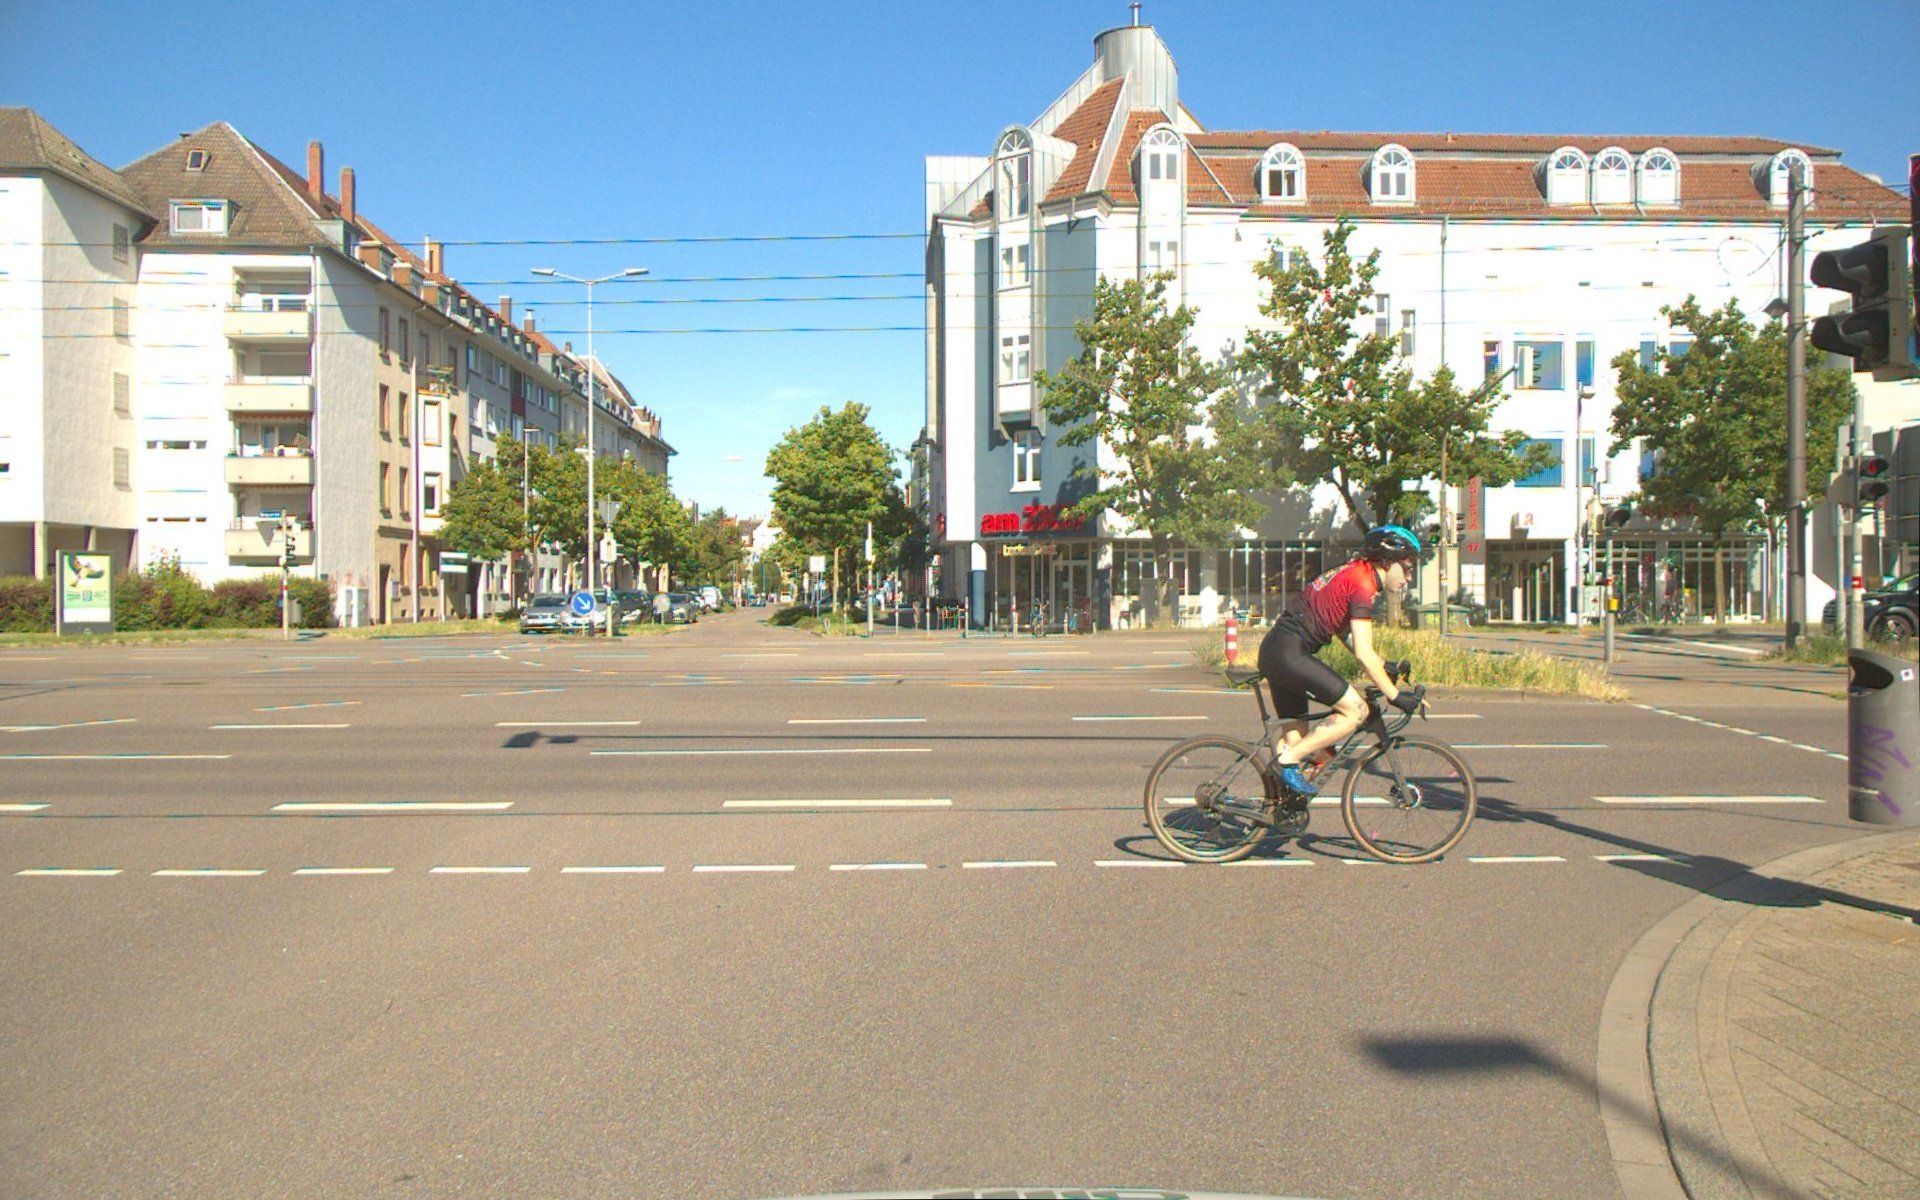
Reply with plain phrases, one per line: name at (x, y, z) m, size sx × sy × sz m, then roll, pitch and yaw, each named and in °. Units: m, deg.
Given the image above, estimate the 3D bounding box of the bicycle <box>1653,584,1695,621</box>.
bicycle at (23.427, 0.073, 54.297) m, size 0.549 × 1.203 × 1.869 m, roll -1°, pitch 0°, yaw -1°

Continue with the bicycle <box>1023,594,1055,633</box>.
bicycle at (2.177, 0.363, 45.780) m, size 0.463 × 1.045 × 1.511 m, roll -1°, pitch 0°, yaw -13°

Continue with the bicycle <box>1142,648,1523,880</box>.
bicycle at (1.869, 0.810, 8.439) m, size 1.770 × 1.073 × 0.673 m, roll -1°, pitch 0°, yaw -4°

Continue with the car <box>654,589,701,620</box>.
car at (-13.891, 0.218, 81.399) m, size 1.654 × 1.457 × 4.398 m, roll 2°, pitch 0°, yaw -2°

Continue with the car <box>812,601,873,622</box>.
car at (-7.012, 0.691, 98.720) m, size 3.500 × 1.245 × 1.728 m, roll 0°, pitch -1°, yaw -8°

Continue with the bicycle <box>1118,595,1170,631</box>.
bicycle at (5.357, 0.376, 48.191) m, size 1.479 × 1.045 × 0.473 m, roll -1°, pitch 0°, yaw 8°

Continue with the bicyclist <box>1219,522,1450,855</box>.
bicyclist at (1.890, 0.430, 8.443) m, size 0.981 × 1.613 × 0.673 m, roll -1°, pitch 0°, yaw -4°

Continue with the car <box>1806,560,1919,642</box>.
car at (20.180, -0.007, 34.128) m, size 4.405 × 1.637 × 2.001 m, roll -1°, pitch 0°, yaw 7°

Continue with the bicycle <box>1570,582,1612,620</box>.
bicycle at (20.707, 0.032, 54.275) m, size 0.549 × 1.203 × 1.868 m, roll -1°, pitch 0°, yaw -4°

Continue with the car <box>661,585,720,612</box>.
car at (-20.997, -0.070, 128.910) m, size 4.417 × 2.049 × 1.998 m, roll 0°, pitch -1°, yaw -6°

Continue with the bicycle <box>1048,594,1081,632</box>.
bicycle at (2.912, 0.345, 46.335) m, size 0.463 × 1.045 × 1.510 m, roll -1°, pitch 0°, yaw -14°

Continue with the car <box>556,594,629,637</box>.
car at (-13.212, 0.538, 59.721) m, size 1.654 × 1.457 × 4.399 m, roll 2°, pitch 0°, yaw 0°

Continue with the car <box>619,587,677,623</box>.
car at (-13.592, 0.231, 72.296) m, size 1.653 × 1.457 × 4.399 m, roll 2°, pitch 0°, yaw 0°

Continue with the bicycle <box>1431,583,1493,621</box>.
bicycle at (16.038, 0.065, 52.882) m, size 1.828 × 1.203 × 0.561 m, roll -1°, pitch 0°, yaw -7°

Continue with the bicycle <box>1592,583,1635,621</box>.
bicycle at (21.575, 0.057, 54.626) m, size 0.549 × 1.203 × 1.868 m, roll -1°, pitch 0°, yaw -4°

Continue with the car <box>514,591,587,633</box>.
car at (-15.512, 0.445, 62.853) m, size 1.653 × 1.457 × 4.399 m, roll 2°, pitch 0°, yaw 0°

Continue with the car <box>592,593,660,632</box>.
car at (-13.317, 0.492, 66.172) m, size 1.653 × 1.457 × 4.400 m, roll 2°, pitch 0°, yaw 1°

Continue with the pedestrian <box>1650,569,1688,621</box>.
pedestrian at (23.827, -0.167, 55.615) m, size 0.970 × 1.753 × 0.653 m, roll -1°, pitch 0°, yaw -4°
